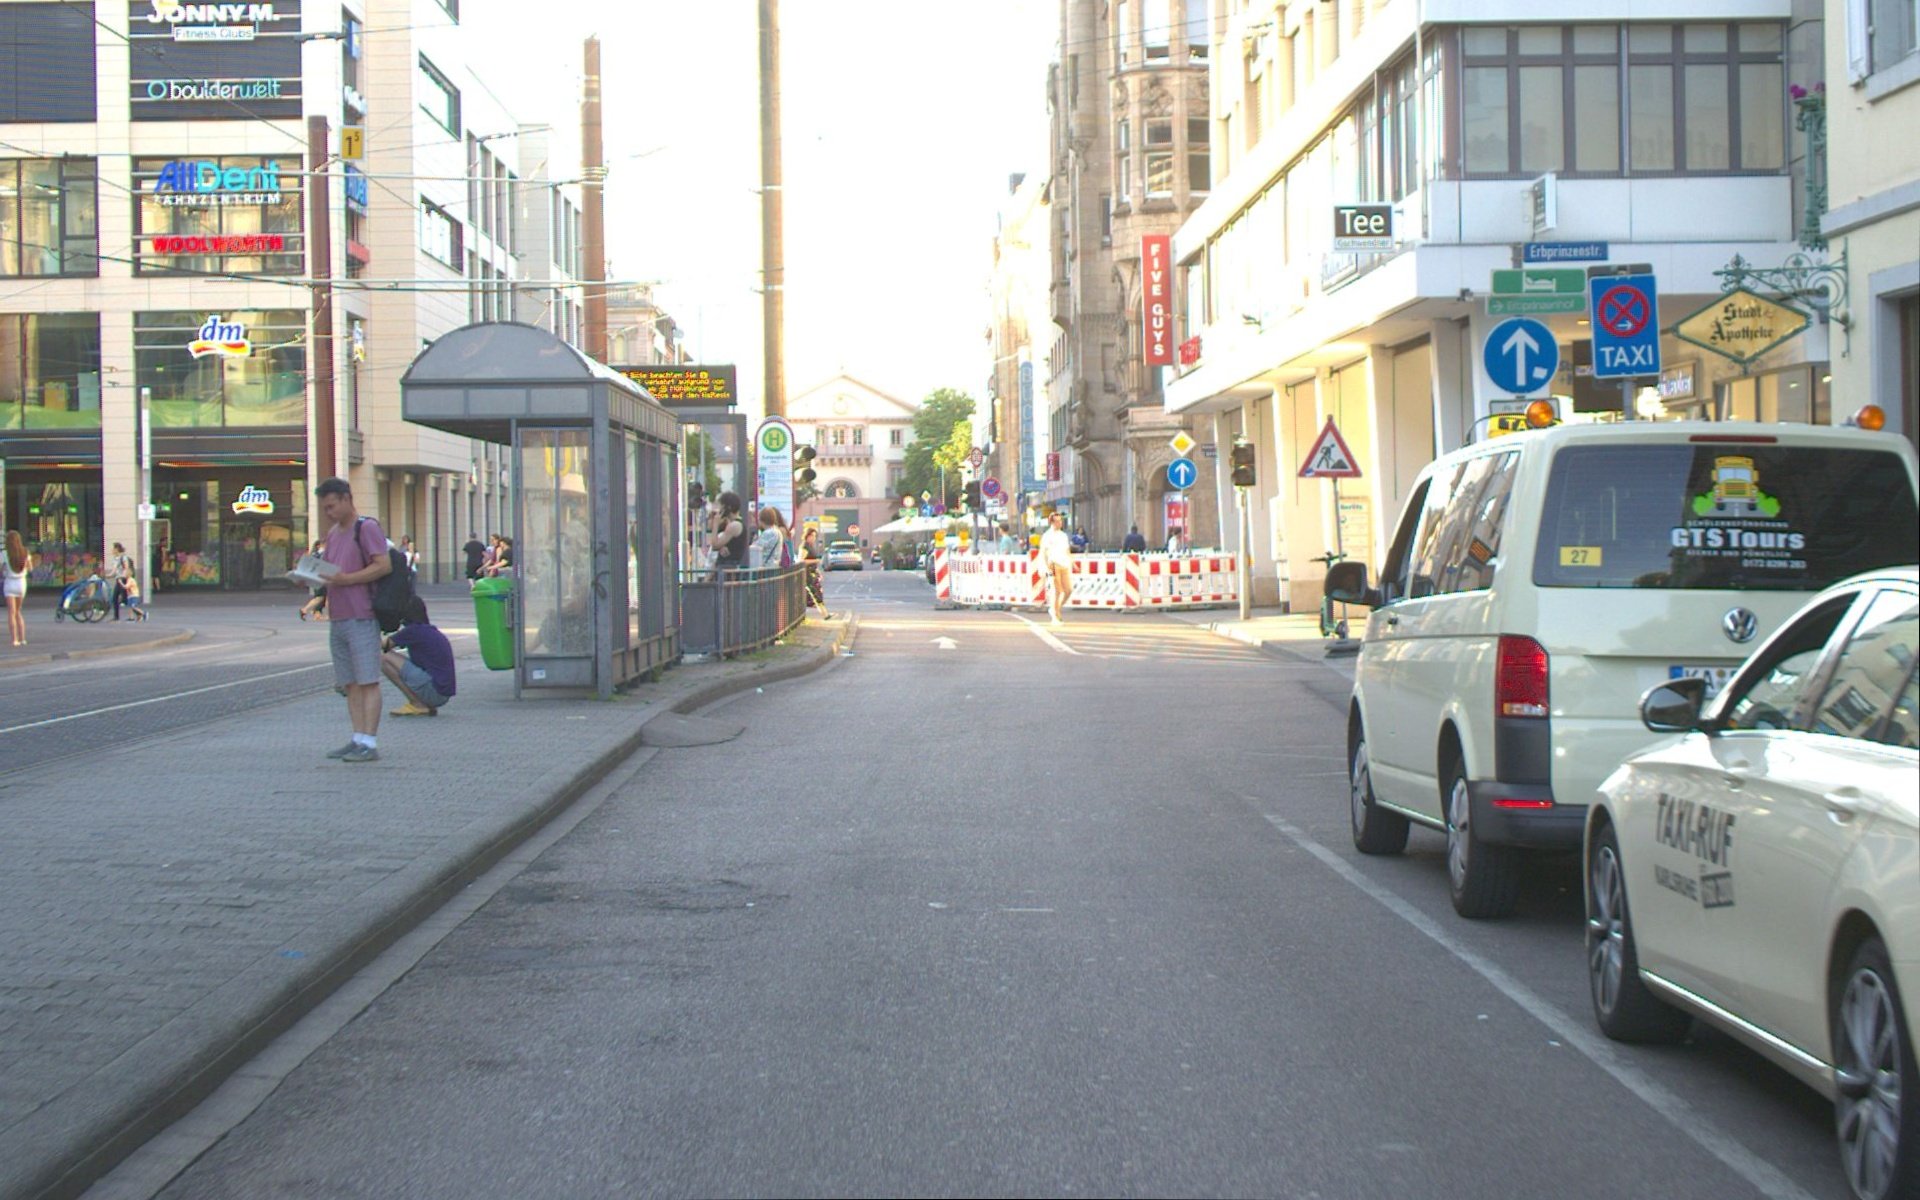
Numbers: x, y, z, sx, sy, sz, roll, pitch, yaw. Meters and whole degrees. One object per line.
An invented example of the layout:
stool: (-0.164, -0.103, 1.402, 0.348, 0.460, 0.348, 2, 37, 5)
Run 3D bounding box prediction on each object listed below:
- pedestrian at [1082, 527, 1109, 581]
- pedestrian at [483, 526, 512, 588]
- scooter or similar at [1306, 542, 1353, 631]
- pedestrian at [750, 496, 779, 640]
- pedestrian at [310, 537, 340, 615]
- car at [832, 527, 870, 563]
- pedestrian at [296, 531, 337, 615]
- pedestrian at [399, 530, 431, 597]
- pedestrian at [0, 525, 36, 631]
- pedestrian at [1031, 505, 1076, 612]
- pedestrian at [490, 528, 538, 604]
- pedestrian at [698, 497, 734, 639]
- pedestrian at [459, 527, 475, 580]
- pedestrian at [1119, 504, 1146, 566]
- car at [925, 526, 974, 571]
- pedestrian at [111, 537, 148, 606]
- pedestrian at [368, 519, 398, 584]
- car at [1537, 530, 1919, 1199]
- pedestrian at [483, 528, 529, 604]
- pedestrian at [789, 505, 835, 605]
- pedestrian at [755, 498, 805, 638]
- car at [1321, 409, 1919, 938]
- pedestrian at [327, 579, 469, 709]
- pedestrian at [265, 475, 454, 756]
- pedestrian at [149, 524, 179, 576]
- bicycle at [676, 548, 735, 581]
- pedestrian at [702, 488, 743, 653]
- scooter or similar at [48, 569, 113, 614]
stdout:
pedestrian: (4.089, -1.389, 103.478, 0.711, 1.605, 0.822, 1, 1, -4)
pedestrian: (-13.209, -1.231, 98.151, 0.782, 1.745, 0.600, 1, 0, -4)
scooter or similar: (5.208, -0.200, 48.494, 0.505, 1.230, 1.180, -1, 1, -2)
pedestrian: (-2.432, -0.398, 42.853, 0.341, 1.789, 0.544, 1, 0, -3)
pedestrian: (-13.052, -0.490, 70.677, 0.569, 1.587, 0.448, -1, 1, -8)
car: (-5.853, -2.940, 184.182, 1.993, 1.897, 4.000, 1, 1, -2)
pedestrian: (-13.113, -0.561, 70.106, 0.743, 1.694, 0.610, -1, 1, -5)
pedestrian: (-13.672, -0.925, 86.288, 0.649, 1.668, 0.530, -1, 1, 7)
pedestrian: (-13.663, -0.323, 49.795, 0.525, 1.520, 0.503, 0, 1, -15)
pedestrian: (1.594, -0.708, 58.697, 0.699, 1.809, 0.852, 1, 1, -2)
pedestrian: (-9.516, -0.726, 73.342, 0.821, 1.608, 0.693, -1, 1, -26)
pedestrian: (-2.838, -0.369, 40.027, 0.385, 1.636, 0.549, 1, 0, -3)
pedestrian: (-14.042, -1.318, 97.980, 0.390, 1.510, 0.506, -1, 1, -2)
pedestrian: (4.666, -1.757, 93.029, 0.625, 1.684, 0.671, -1, 1, -3)
car: (-0.414, -1.951, 130.717, 1.679, 1.608, 4.029, -2, 1, -2)
pedestrian: (-17.097, -0.591, 70.766, 0.639, 1.415, 0.418, 0, 1, 1)
pedestrian: (-16.499, -1.381, 98.297, 0.573, 1.848, 0.816, 1, 1, 11)
car: (2.799, 0.585, 8.572, 1.806, 1.478, 4.779, -1, 2, -1)
pedestrian: (-9.799, -0.733, 74.196, 0.769, 1.608, 0.667, -1, 1, -26)
pedestrian: (-2.519, -0.771, 58.511, 0.699, 1.687, 0.541, 1, 1, -8)
pedestrian: (-2.282, -0.403, 43.636, 0.539, 1.761, 0.594, 1, 0, 4)
car: (2.852, 0.251, 15.103, 1.876, 1.917, 4.700, 2, 1, -1)
pedestrian: (-4.167, 0.315, 25.519, 0.799, 0.936, 0.692, 0, 1, 22)
pedestrian: (-3.573, 0.080, 20.469, 0.687, 1.632, 0.859, 1, 1, 40)
pedestrian: (-23.349, -1.473, 100.812, 0.573, 1.521, 0.790, 1, 1, 11)
bicycle: (-8.694, -1.213, 117.430, 1.967, 1.118, 0.558, 0, 1, -30)
pedestrian: (-2.554, -0.317, 37.019, 0.412, 1.761, 0.594, 1, 0, -3)
scooter or similar: (-17.942, -0.172, 70.158, 1.093, 0.901, 0.890, -1, 1, 0)
